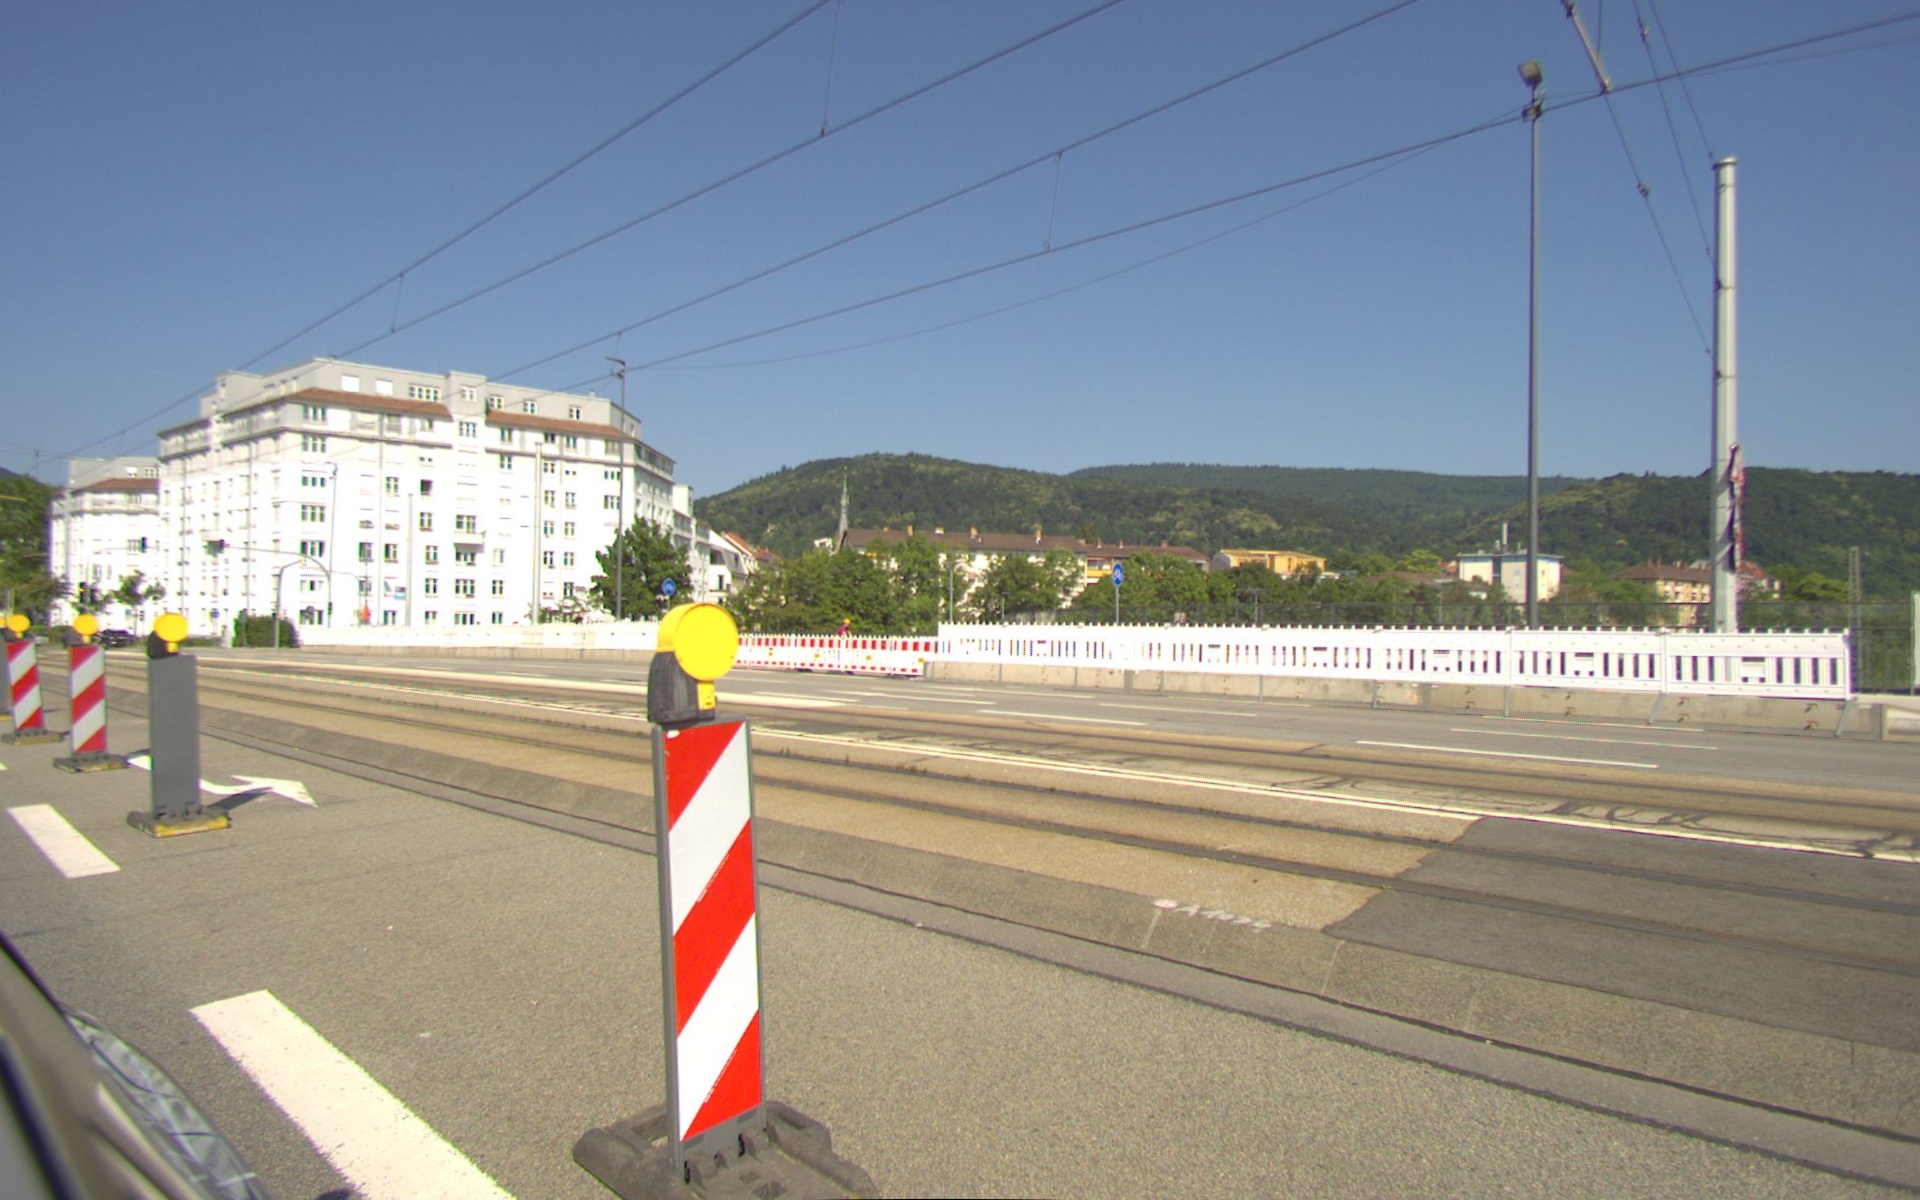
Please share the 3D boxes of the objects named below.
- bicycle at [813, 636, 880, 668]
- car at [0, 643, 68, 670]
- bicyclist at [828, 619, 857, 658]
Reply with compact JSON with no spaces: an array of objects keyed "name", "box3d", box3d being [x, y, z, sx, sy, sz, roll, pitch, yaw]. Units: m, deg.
[{"name":"bicycle","box3d":[-4.580,2.064,40.638,3.070,1.204,0.847,-1,0,41]},{"name":"car","box3d":[-54.168,3.278,58.681,3.963,1.497,1.794,-1,-1,16]},{"name":"bicyclist","box3d":[-4.736,1.555,40.767,0.817,1.530,0.847,-1,0,41]}]
